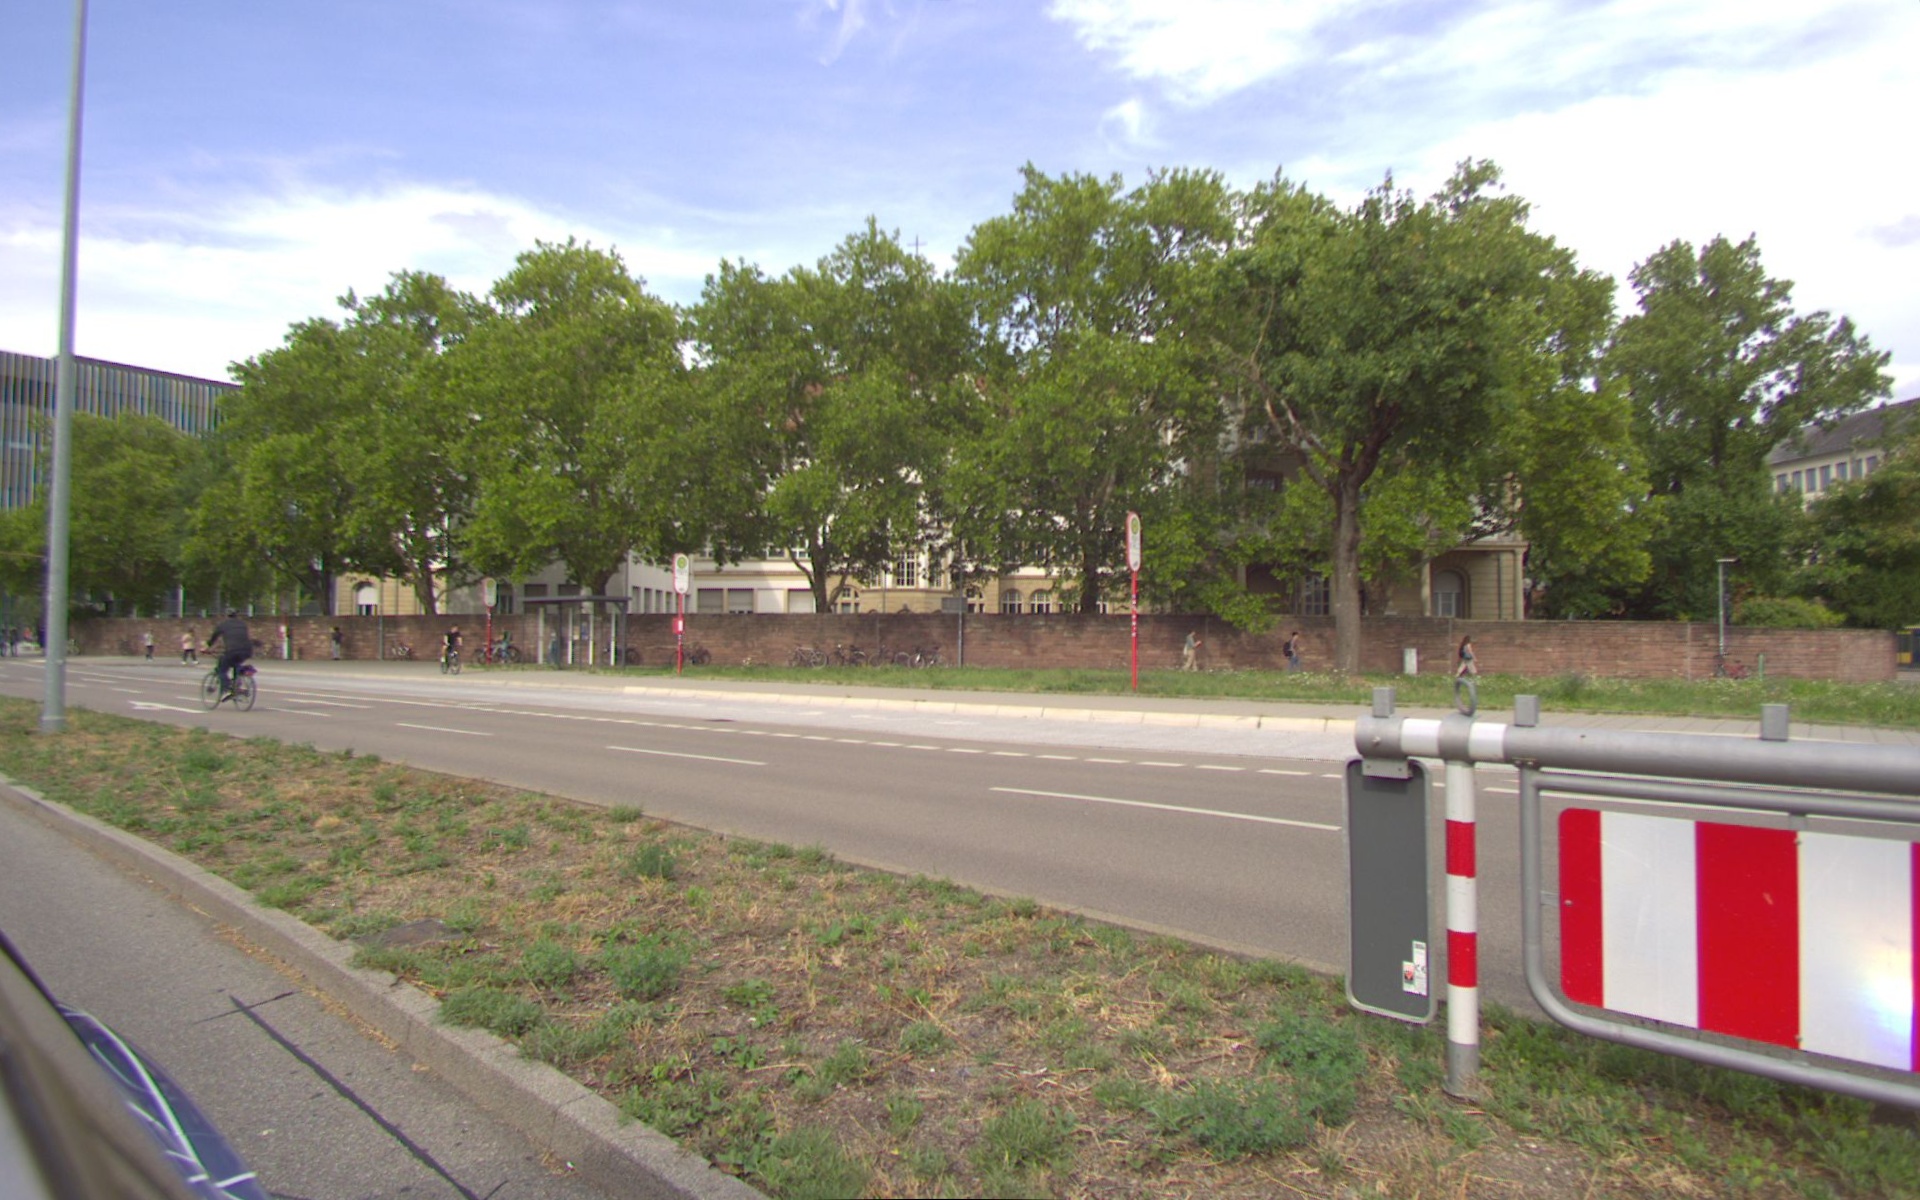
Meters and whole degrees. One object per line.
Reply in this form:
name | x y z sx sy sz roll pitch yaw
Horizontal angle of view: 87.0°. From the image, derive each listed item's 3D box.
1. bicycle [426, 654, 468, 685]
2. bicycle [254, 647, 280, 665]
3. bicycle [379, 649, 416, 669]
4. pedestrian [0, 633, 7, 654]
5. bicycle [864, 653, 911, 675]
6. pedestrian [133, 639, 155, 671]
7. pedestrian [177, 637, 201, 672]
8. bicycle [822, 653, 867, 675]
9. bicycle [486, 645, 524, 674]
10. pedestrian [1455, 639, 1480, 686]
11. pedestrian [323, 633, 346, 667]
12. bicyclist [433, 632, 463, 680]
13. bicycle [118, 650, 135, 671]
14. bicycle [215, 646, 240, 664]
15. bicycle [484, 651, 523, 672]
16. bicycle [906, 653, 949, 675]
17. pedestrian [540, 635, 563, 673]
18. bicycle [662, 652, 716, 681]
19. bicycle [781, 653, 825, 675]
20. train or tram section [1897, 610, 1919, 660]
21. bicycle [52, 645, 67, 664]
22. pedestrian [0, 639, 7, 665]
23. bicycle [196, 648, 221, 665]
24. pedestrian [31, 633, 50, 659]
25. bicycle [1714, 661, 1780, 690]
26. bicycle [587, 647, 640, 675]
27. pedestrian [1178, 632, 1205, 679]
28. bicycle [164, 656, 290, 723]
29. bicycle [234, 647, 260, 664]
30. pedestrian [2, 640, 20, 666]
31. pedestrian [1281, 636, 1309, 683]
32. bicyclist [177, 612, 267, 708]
bicycle | -17.485 2.346 34.465 1.969 0.943 0.499 1 -1 39
bicycle | -35.883 2.891 52.390 1.568 0.894 0.429 -2 0 28
bicycle | -26.685 2.815 48.033 1.563 0.894 0.657 -2 0 19
pedestrian | -76.504 3.479 80.613 0.663 1.634 0.746 -1 -1 32
bicycle | -2.885 2.546 40.119 1.876 0.871 0.356 -1 -5 20
pedestrian | -42.657 2.849 52.919 0.663 1.634 0.746 -1 -1 32
pedestrian | -37.280 2.637 48.908 0.663 1.634 0.746 -1 -1 32
bicycle | -4.649 2.574 40.729 1.795 0.871 0.356 -1 -5 18
bicycle | -19.800 2.594 44.088 0.748 1.198 2.099 1 -5 -1
pedestrian | 18.732 2.302 37.341 0.622 1.667 0.531 -1 -1 4
pedestrian | -30.756 2.474 49.766 0.656 1.634 0.755 -1 -1 -3
bicyclist | -17.415 1.896 34.413 0.797 1.567 0.572 1 -1 38
bicycle | -49.545 3.580 60.135 1.394 1.218 0.507 -1 -1 38
bicycle | -39.251 2.950 54.248 1.568 0.894 0.429 -2 0 28
bicycle | -20.573 2.779 45.573 1.563 0.894 0.657 -2 0 19
bicycle | -1.293 2.526 40.108 1.691 0.871 0.357 -1 -5 13
pedestrian | -17.989 2.357 44.586 0.748 1.634 0.565 -1 -1 16
bicycle | -11.327 2.774 42.348 2.080 1.198 0.754 -1 -5 17
bicycle | -6.402 2.600 41.249 1.806 0.871 0.357 -1 -5 16
train or tram section | 64.828 2.280 63.578 3.019 3.237 9.429 -1 -1 0
bicycle | -59.016 3.573 66.304 1.394 1.218 0.507 -1 -1 38
pedestrian | -60.604 3.282 63.688 0.663 1.634 0.746 -1 -1 32
bicycle | -40.924 3.073 55.112 1.568 0.894 0.429 -2 0 28
pedestrian | -59.109 2.959 65.040 0.663 1.634 0.746 -1 -1 32
bicycle | 29.310 2.812 37.692 1.896 1.012 0.780 -1 -1 -7
bicycle | -14.917 2.628 43.601 2.080 1.198 0.754 -1 -5 17
pedestrian | 8.447 2.029 36.943 0.769 1.667 0.579 0 -1 -17
bicycle | -13.697 1.652 18.918 2.080 1.198 0.754 -1 -5 17
bicycle | -37.713 2.925 53.550 1.568 0.894 0.429 -2 0 28
pedestrian | -60.518 3.383 64.536 0.663 1.634 0.746 -1 -1 32
pedestrian | 12.113 2.145 36.607 0.768 1.667 0.579 0 -1 -22
bicyclist | -13.747 1.120 18.868 1.076 1.724 0.774 -1 -5 17
